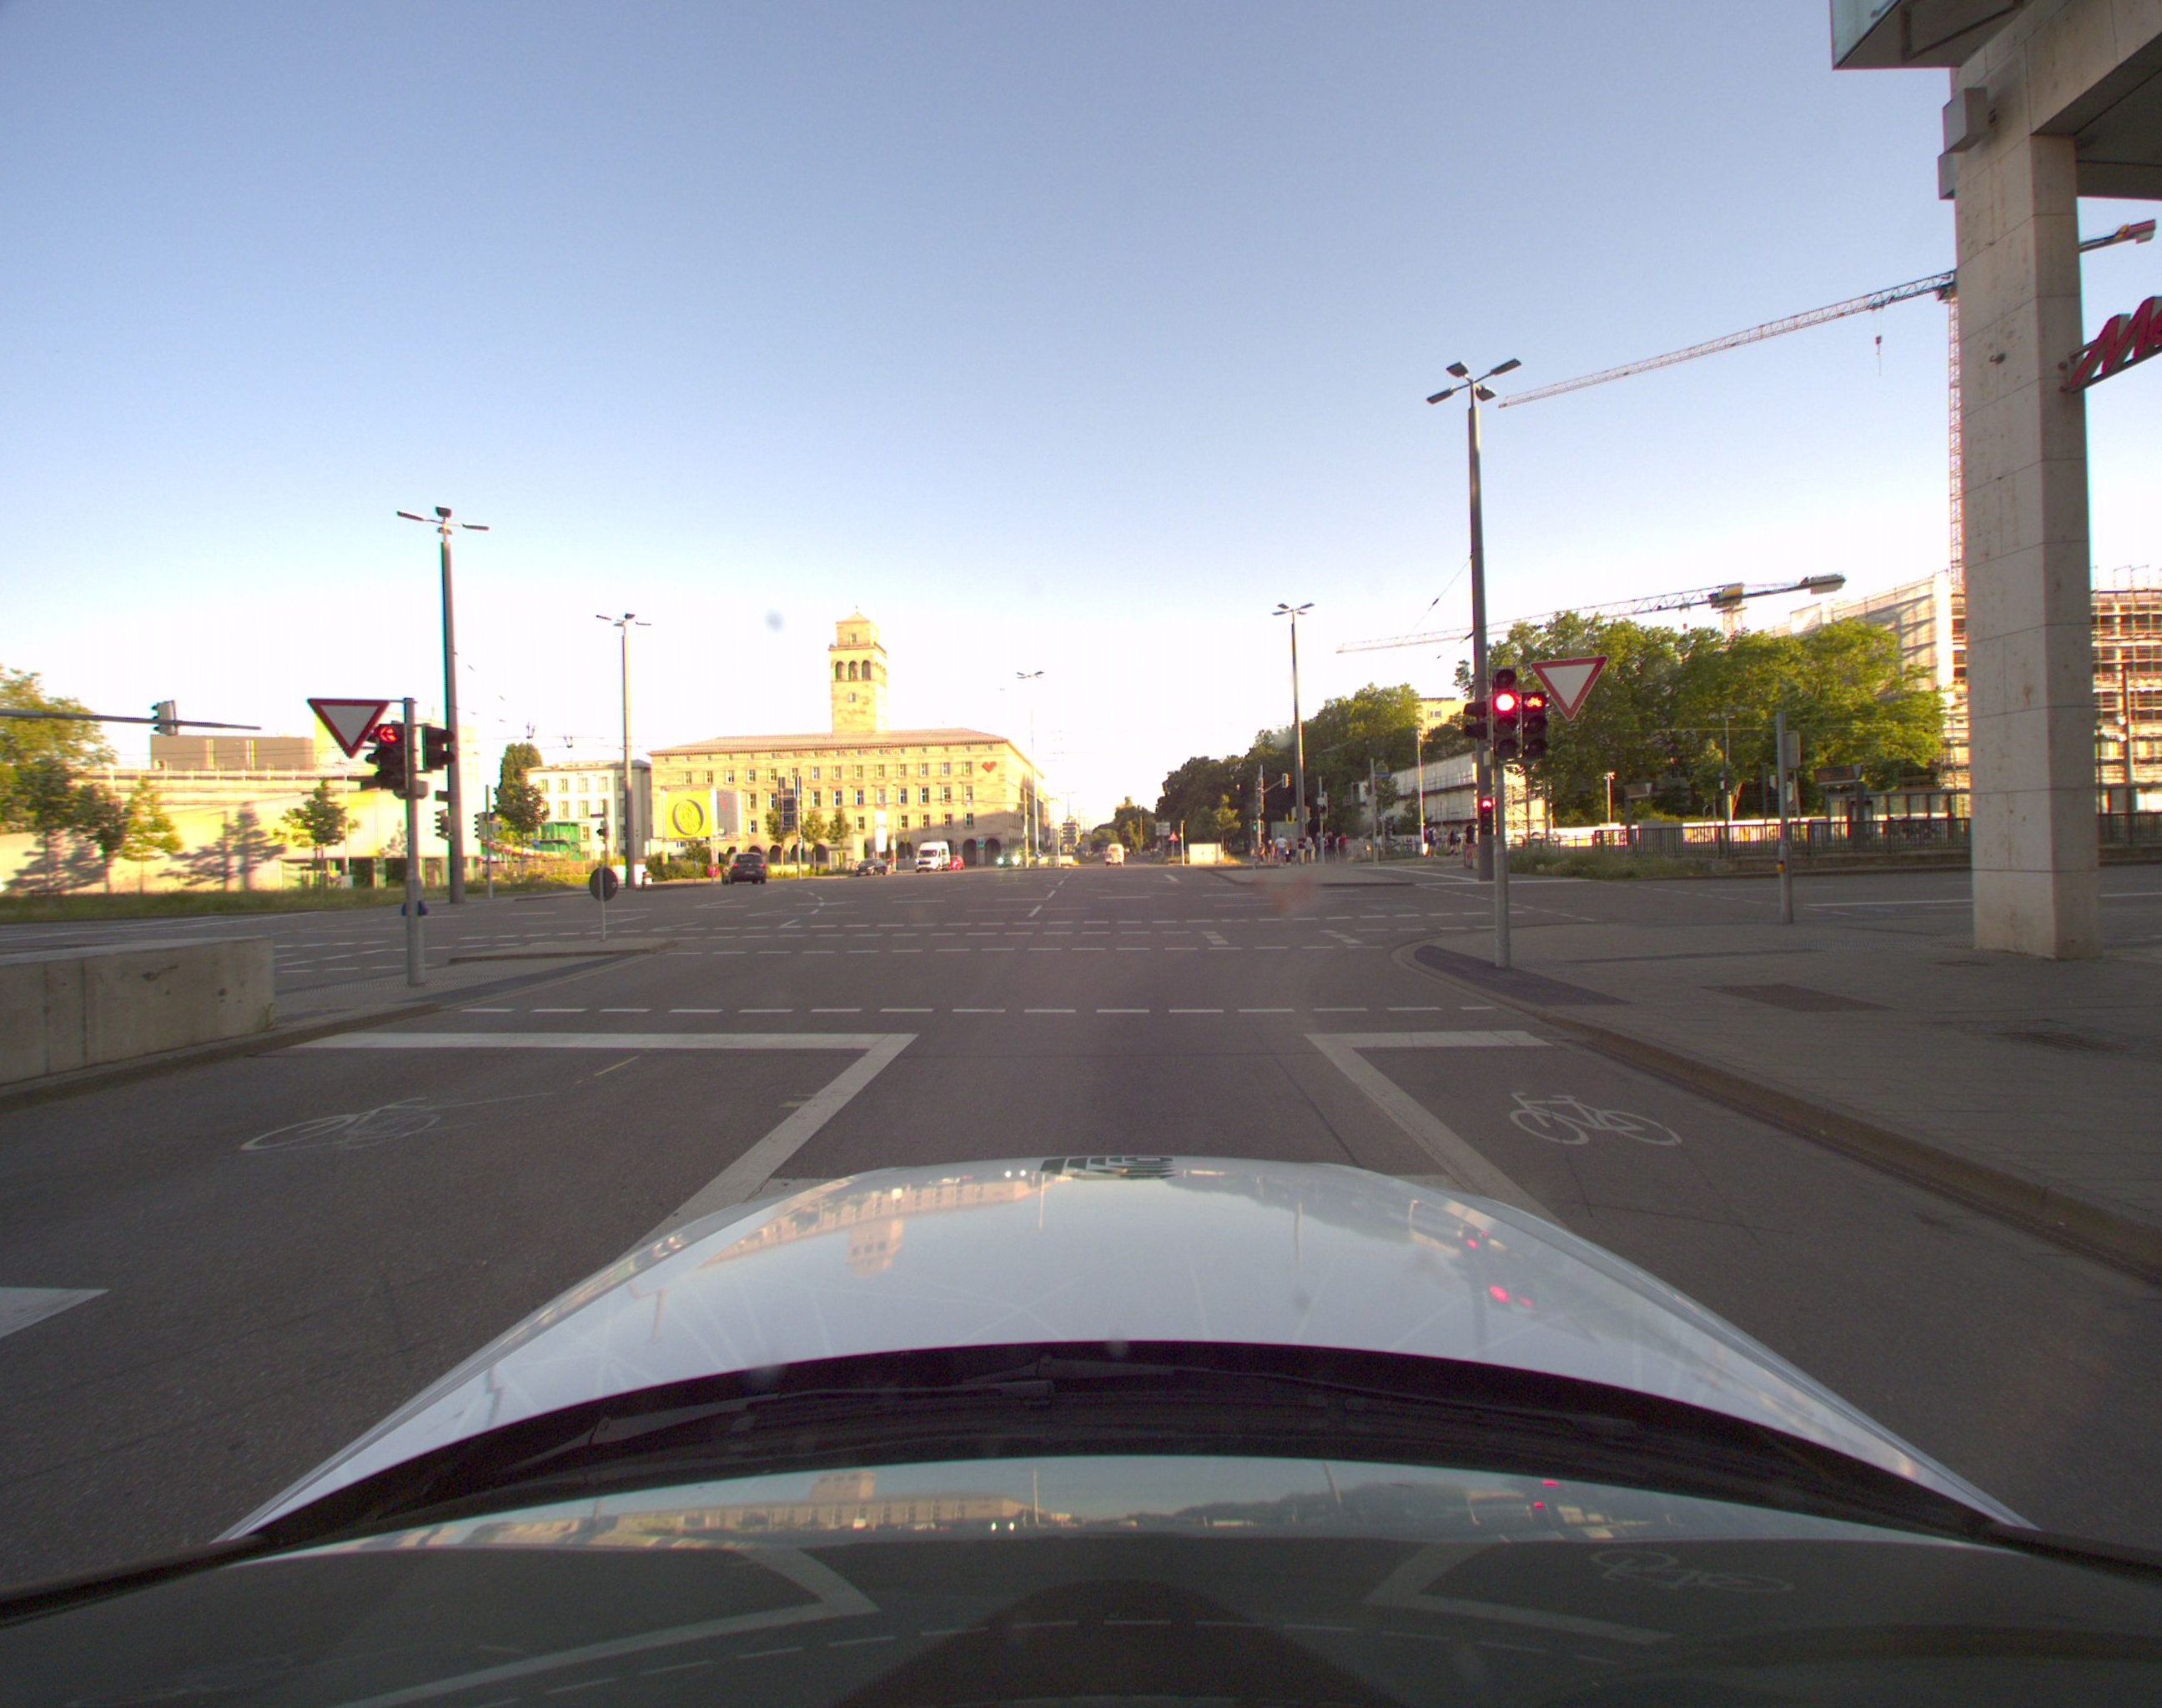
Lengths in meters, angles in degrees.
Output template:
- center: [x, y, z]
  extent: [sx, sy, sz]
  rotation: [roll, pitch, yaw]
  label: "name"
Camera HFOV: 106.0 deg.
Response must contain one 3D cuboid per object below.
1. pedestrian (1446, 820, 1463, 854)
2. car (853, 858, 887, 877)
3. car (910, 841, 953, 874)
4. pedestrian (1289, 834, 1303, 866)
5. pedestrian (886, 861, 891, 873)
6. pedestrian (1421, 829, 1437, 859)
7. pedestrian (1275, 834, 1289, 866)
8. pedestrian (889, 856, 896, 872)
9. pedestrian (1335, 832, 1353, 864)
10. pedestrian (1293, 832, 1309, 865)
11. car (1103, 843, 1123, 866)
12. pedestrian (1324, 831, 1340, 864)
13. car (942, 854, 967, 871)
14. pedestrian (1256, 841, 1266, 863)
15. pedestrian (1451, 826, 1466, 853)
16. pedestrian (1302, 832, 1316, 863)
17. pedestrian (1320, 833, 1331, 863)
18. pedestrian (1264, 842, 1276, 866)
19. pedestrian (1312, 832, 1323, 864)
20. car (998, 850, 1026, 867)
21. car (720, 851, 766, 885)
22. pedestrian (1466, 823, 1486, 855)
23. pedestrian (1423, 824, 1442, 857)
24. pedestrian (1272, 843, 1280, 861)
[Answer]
- center: [19.737, -0.903, 43.066]
  extent: [0.705, 1.725, 0.672]
  rotation: [-2, 0, 19]
  label: "pedestrian"
- center: [-18.337, 1.182, 70.866]
  extent: [1.817, 1.466, 4.158]
  rotation: [-2, 1, 0]
  label: "car"
- center: [-13.288, 0.250, 72.985]
  extent: [2.269, 2.776, 6.090]
  rotation: [-2, 0, 4]
  label: "car"
- center: [12.003, -0.238, 45.531]
  extent: [0.705, 1.725, 0.671]
  rotation: [-2, 0, 15]
  label: "pedestrian"
- center: [-21.087, 1.394, 89.142]
  extent: [0.420, 1.300, 0.459]
  rotation: [0, -1, -3]
  label: "pedestrian"
- center: [19.015, -0.538, 44.493]
  extent: [0.569, 1.592, 0.537]
  rotation: [-2, 0, 1]
  label: "pedestrian"
- center: [11.238, -0.232, 45.584]
  extent: [0.705, 1.725, 0.671]
  rotation: [-2, 1, 16]
  label: "pedestrian"
- center: [-20.946, 1.113, 90.549]
  extent: [0.620, 1.744, 0.459]
  rotation: [0, -1, -4]
  label: "pedestrian"
- center: [14.792, -0.351, 45.823]
  extent: [0.838, 1.734, 0.708]
  rotation: [-2, 1, 14]
  label: "pedestrian"
- center: [11.741, -0.324, 43.484]
  extent: [0.704, 1.725, 0.920]
  rotation: [-2, 1, 22]
  label: "pedestrian"
- center: [2.563, 0.042, 64.587]
  extent: [1.477, 1.696, 2.976]
  rotation: [-2, 0, 3]
  label: "car"
- center: [14.029, -0.348, 45.494]
  extent: [0.799, 1.791, 0.804]
  rotation: [-2, 1, 16]
  label: "pedestrian"
- center: [-12.640, 0.811, 81.671]
  extent: [1.732, 1.487, 4.002]
  rotation: [-2, 1, 2]
  label: "car"
- center: [13.400, -0.158, 60.554]
  extent: [0.555, 1.654, 0.907]
  rotation: [-2, 1, 22]
  label: "pedestrian"
- center: [20.244, -0.769, 43.686]
  extent: [0.670, 1.441, 0.718]
  rotation: [-2, 0, 24]
  label: "pedestrian"
- center: [12.992, -0.379, 46.405]
  extent: [0.705, 1.725, 0.919]
  rotation: [-2, 1, 15]
  label: "pedestrian"
- center: [14.113, -0.348, 46.958]
  extent: [0.568, 1.678, 0.641]
  rotation: [-2, 0, 16]
  label: "pedestrian"
- center: [14.071, -0.034, 60.472]
  extent: [0.673, 1.757, 0.907]
  rotation: [-2, 1, 22]
  label: "pedestrian"
- center: [13.225, -0.340, 45.510]
  extent: [0.568, 1.791, 0.641]
  rotation: [-2, 0, 16]
  label: "pedestrian"
- center: [-6.169, 0.412, 72.963]
  extent: [1.815, 1.341, 4.005]
  rotation: [-2, 1, 4]
  label: "car"
- center: [-17.636, 0.713, 42.386]
  extent: [1.749, 1.604, 4.095]
  rotation: [-2, 0, -29]
  label: "car"
- center: [21.536, -0.818, 44.380]
  extent: [0.710, 1.725, 0.667]
  rotation: [-2, 0, -5]
  label: "pedestrian"
- center: [18.668, -0.711, 43.276]
  extent: [0.663, 1.725, 0.714]
  rotation: [-2, 0, 3]
  label: "pedestrian"
- center: [20.872, -0.245, 87.087]
  extent: [0.662, 1.842, 0.714]
  rotation: [-2, 1, 7]
  label: "pedestrian"
